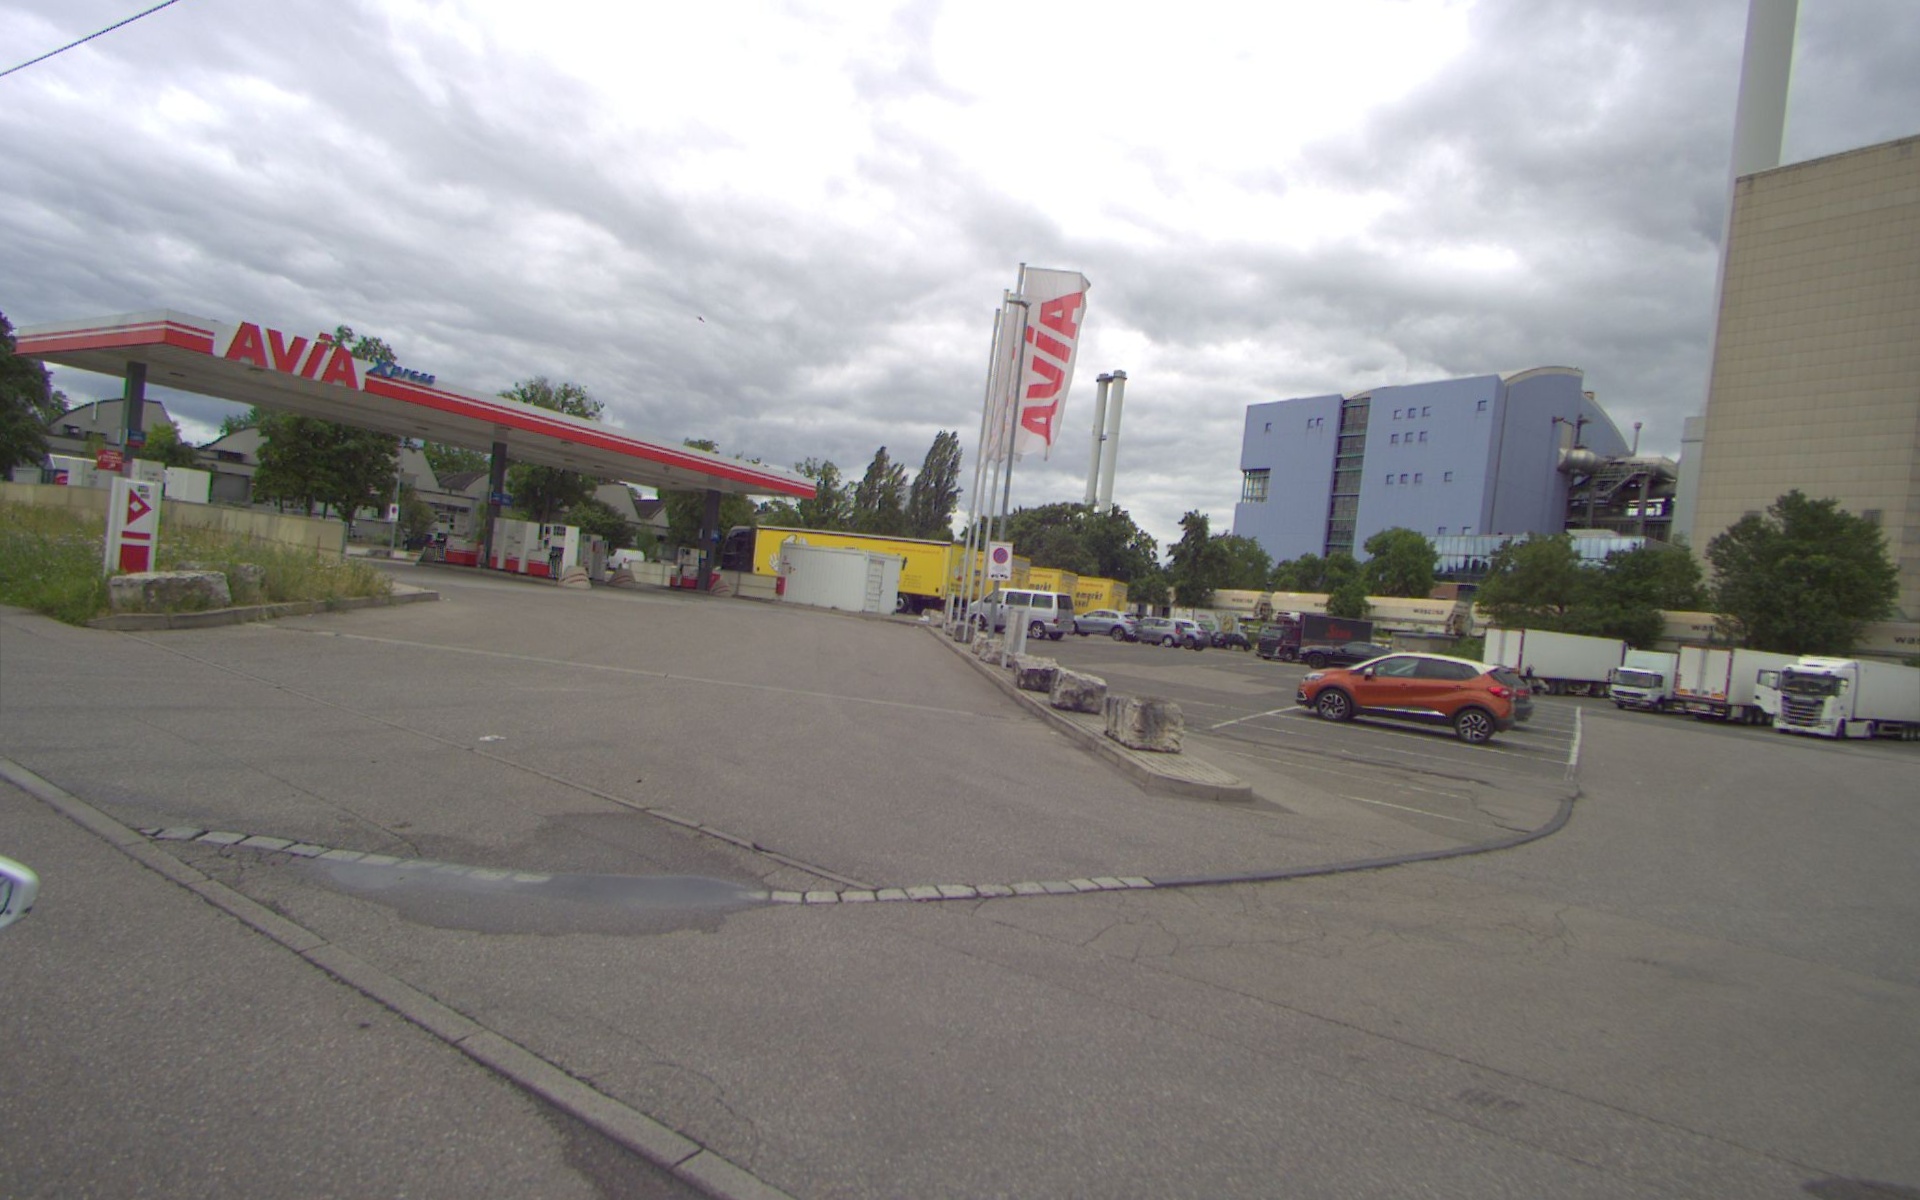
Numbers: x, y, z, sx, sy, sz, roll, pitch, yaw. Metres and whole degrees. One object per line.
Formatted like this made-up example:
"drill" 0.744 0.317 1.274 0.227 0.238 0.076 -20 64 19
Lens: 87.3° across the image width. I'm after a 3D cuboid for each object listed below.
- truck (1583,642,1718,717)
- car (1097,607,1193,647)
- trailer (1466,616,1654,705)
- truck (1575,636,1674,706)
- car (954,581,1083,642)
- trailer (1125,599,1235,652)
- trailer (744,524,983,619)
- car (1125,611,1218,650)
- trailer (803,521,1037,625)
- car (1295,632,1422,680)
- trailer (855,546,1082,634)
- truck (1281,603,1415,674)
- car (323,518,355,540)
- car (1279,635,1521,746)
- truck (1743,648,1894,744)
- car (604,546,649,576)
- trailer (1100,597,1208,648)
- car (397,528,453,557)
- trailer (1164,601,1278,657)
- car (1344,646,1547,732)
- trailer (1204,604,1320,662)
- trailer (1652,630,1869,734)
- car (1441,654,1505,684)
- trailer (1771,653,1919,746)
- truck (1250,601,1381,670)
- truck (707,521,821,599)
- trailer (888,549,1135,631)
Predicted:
"truck" 41.071 4.743 59.798 7.178 3.602 3.681 7 1 -31
"car" 10.116 1.477 55.096 4.611 1.621 1.985 7 1 32
"trailer" 41.785 4.320 69.511 18.112 4.556 3.527 7 0 -34
"truck" 49.353 5.289 74.642 6.589 4.487 3.517 7 0 -34
"car" 2.434 0.455 42.165 4.869 1.936 1.985 7 1 32
"trailer" 23.791 2.777 108.300 12.457 4.356 3.527 7 0 -34
"trailer" -5.719 -1.724 56.442 14.063 3.965 3.002 6 1 31
"car" 11.937 1.710 56.784 4.611 1.621 1.985 7 1 32
"trailer" -2.620 -1.721 59.126 14.063 4.784 3.002 6 1 31
"car" 16.781 2.329 42.397 4.607 1.386 1.985 7 1 32
"trailer" 0.252 -0.805 67.232 15.463 4.315 3.022 6 1 31
"truck" 30.211 3.049 78.044 11.855 4.344 2.848 7 0 -32
"car" -54.276 -6.214 87.910 1.894 1.541 4.019 5 2 -38
"car" 8.850 1.738 20.330 4.146 1.591 1.765 7 2 32
"truck" 45.034 5.034 52.759 7.180 4.172 3.680 6 1 -32
"car" -27.875 -3.307 84.031 2.082 2.130 4.854 5 1 -36
"trailer" 21.631 2.584 111.725 12.457 4.356 3.642 7 0 -34
"car" -37.127 -3.995 69.796 3.821 1.549 1.733 6 1 33
"trailer" 26.668 3.007 102.488 12.457 4.356 3.527 7 0 -34
"car" 11.682 2.076 24.268 4.146 1.409 1.765 7 2 32
"trailer" 29.809 3.317 98.931 12.457 4.356 3.527 7 0 -34
"trailer" 47.181 4.975 58.862 18.093 4.556 3.531 7 0 -31
"car" 36.119 4.883 70.830 4.646 1.621 1.970 7 1 -36
"trailer" 52.713 5.936 57.563 18.304 4.141 3.612 7 1 -32
"truck" 28.637 2.915 80.703 11.855 4.344 2.848 7 0 -32
"truck" -11.759 -2.403 60.117 5.940 3.965 2.959 7 1 31
"trailer" 3.149 -0.814 69.888 17.770 3.965 2.692 6 1 31
